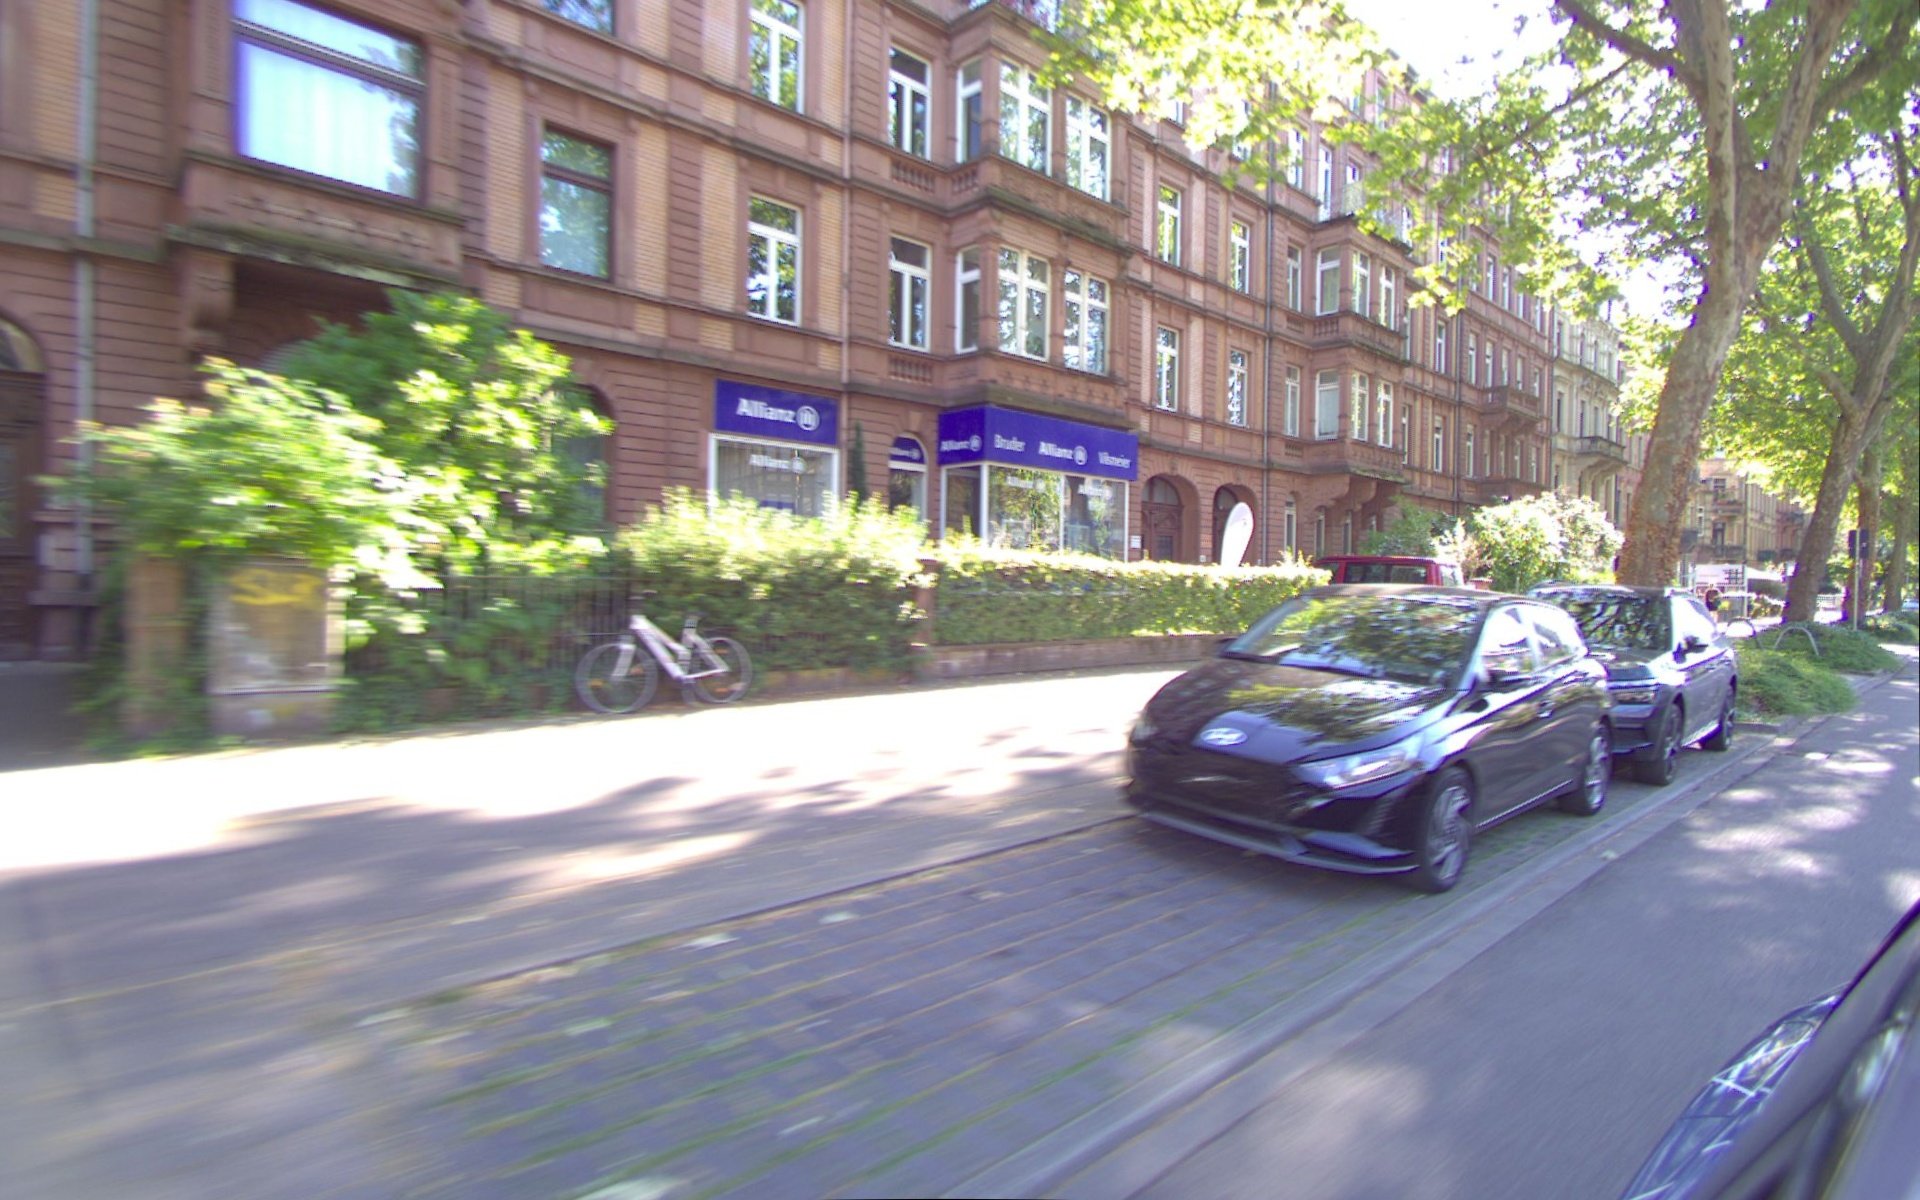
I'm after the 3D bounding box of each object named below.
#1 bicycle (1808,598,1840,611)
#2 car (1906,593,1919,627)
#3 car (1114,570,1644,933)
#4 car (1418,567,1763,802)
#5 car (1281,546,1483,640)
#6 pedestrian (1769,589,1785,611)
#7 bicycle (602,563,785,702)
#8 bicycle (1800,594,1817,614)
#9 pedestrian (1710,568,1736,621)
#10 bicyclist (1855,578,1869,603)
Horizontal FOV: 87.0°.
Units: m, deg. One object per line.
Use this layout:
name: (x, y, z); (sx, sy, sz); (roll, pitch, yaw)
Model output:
bicycle: (64.242, 0.317, 75.257); (1.686, 0.928, 0.595); (2, 1, 36)
car: (46.648, 0.477, 48.343); (4.722, 1.556, 1.735); (0, 1, -42)
car: (2.812, 0.627, 6.285); (3.983, 1.517, 1.553); (0, 3, -44)
car: (5.859, 0.561, 9.158); (4.344, 1.606, 1.618); (0, 3, -44)
car: (10.548, -0.247, 25.476); (1.967, 2.038, 4.181); (0, 4, -44)
pedestrian: (51.512, -0.002, 63.792); (0.652, 1.316, 0.713); (0, 1, -44)
bicycle: (-2.558, 0.295, 9.853); (1.735, 1.266, 0.338); (0, -1, -39)
bicycle: (50.233, 0.249, 59.916); (1.864, 1.157, 0.475); (0, 3, -44)
pedestrian: (29.489, -0.215, 39.129); (0.623, 2.038, 0.673); (0, 1, -43)
bicyclist: (51.283, -0.546, 57.529); (0.633, 1.398, 0.543); (2, -2, -45)
